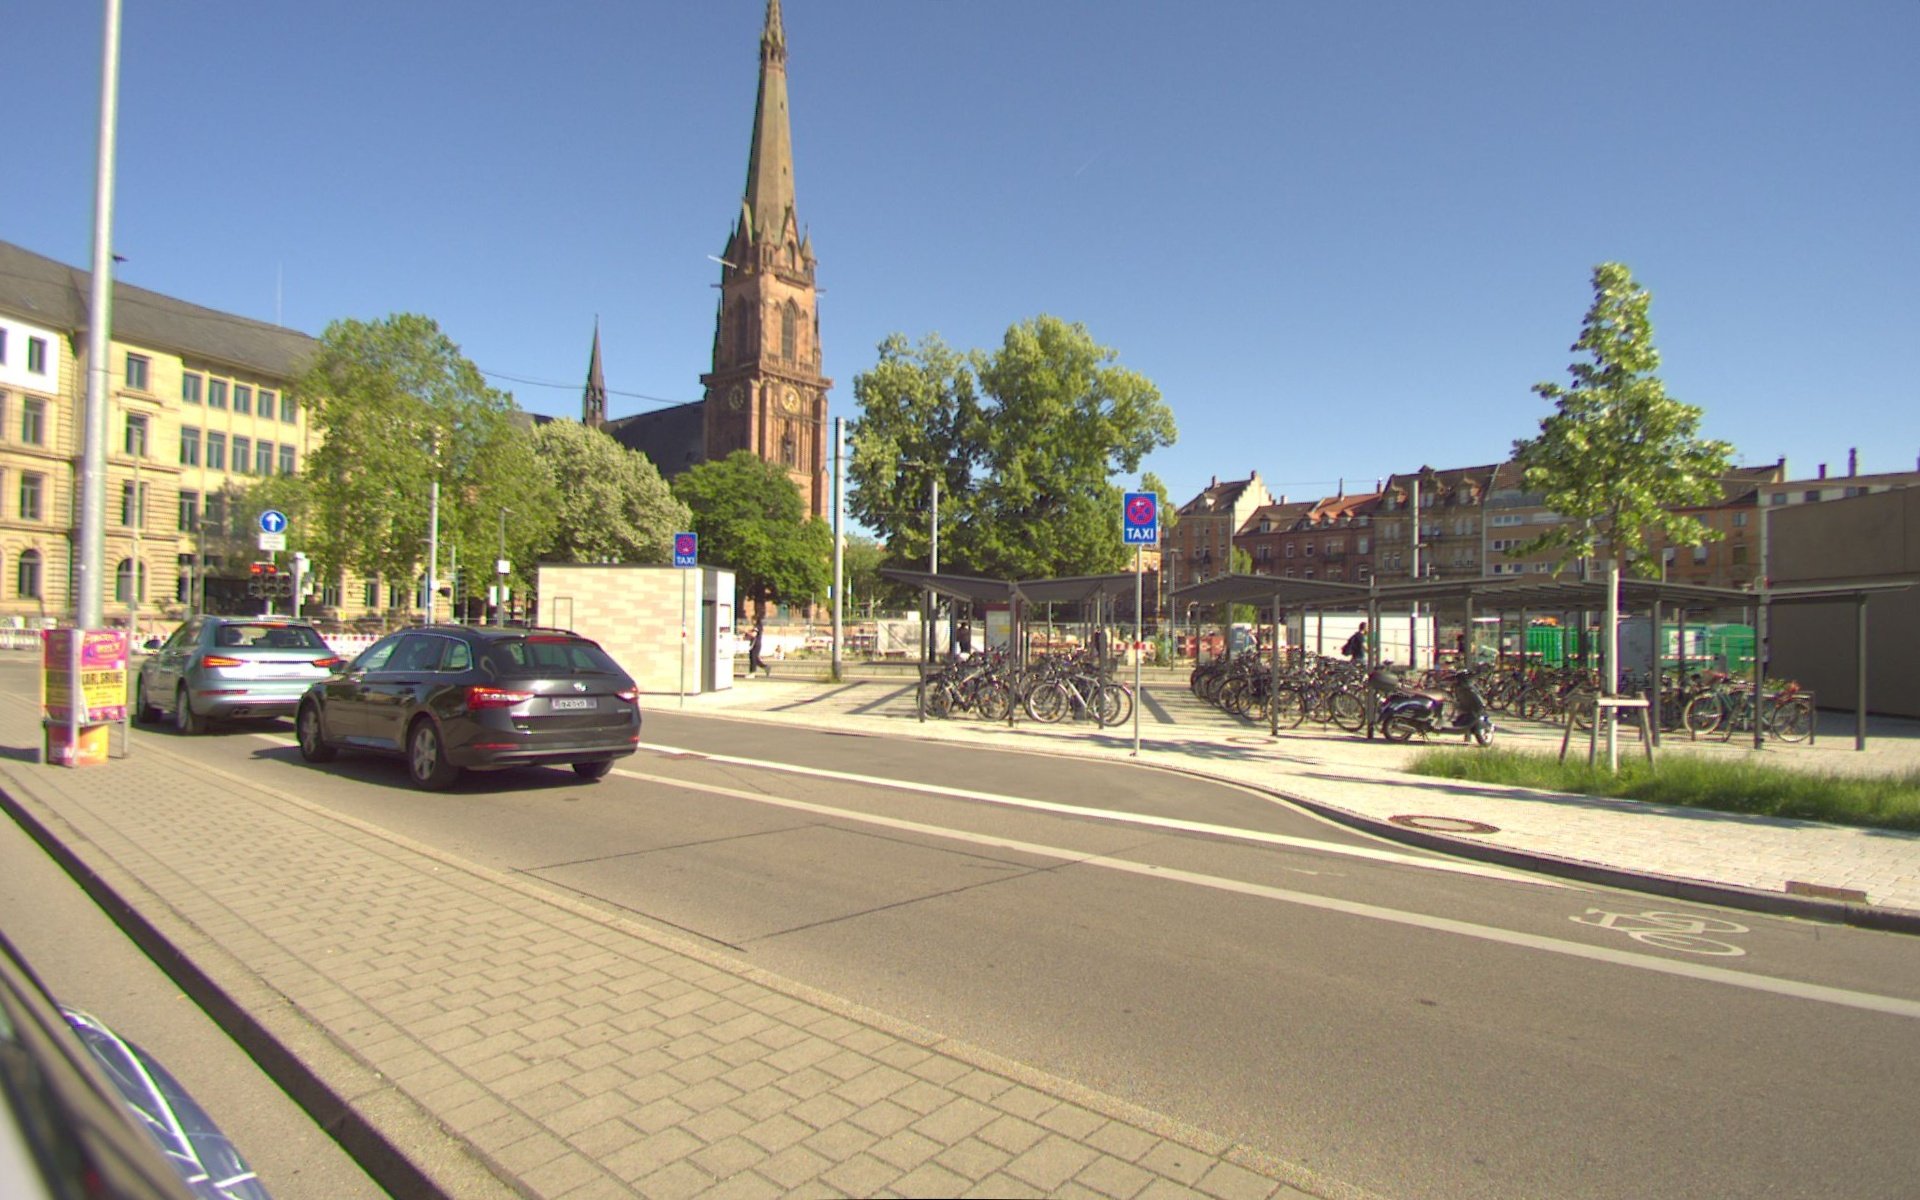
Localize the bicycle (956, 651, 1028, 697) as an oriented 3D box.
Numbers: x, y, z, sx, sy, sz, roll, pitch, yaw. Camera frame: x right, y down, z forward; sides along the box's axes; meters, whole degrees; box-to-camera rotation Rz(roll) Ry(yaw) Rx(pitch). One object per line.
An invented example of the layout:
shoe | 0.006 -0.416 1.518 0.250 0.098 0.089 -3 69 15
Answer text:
bicycle | 0.748 1.706 23.482 1.652 1.016 0.456 0 -2 8

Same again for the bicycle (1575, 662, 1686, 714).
bicycle | 13.876 1.815 20.971 1.882 1.016 0.456 0 -2 8

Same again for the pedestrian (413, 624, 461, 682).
pedestrian | -16.611 1.659 32.173 1.130 1.793 0.965 -1 -2 40

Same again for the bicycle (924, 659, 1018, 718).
bicycle | 0.203 1.582 18.191 1.652 1.016 0.456 0 -2 8

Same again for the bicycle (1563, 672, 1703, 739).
bicycle | 10.975 1.715 16.537 1.882 1.016 0.456 0 -2 8

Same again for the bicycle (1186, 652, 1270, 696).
bicycle | 6.396 1.759 24.226 1.882 1.016 0.456 0 -2 8

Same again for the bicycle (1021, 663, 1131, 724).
bicycle | 2.021 1.621 17.674 1.882 1.016 0.456 0 -2 8

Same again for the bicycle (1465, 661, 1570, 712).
bicycle | 11.716 1.811 21.313 1.882 1.016 0.456 0 -2 8

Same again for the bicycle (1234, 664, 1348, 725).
bicycle | 5.902 1.680 18.093 1.882 1.016 0.456 0 -2 8

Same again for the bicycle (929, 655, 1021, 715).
bicycle | 0.282 1.562 18.777 1.652 1.069 0.456 0 -2 8

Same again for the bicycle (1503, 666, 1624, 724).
bicycle | 11.166 1.753 18.758 1.882 1.016 0.456 0 -2 8

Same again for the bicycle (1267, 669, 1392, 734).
bicycle | 6.124 1.679 16.840 1.882 1.016 0.456 0 -2 8

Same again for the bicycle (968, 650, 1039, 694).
bicycle | 1.044 1.712 24.227 1.652 1.016 0.456 0 -2 8

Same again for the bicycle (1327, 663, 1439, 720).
bicycle | 7.920 1.709 18.996 1.882 1.016 0.456 0 -2 8

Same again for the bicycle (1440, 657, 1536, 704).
bicycle | 12.081 1.833 23.194 1.882 1.016 0.456 0 -2 8

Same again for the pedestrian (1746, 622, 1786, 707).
pedestrian | 19.614 1.546 24.632 0.718 2.029 0.678 -1 -2 41

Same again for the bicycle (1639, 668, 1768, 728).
bicycle | 13.471 1.774 18.364 1.882 1.016 0.456 0 -2 8

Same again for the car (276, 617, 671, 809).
car | -5.022 0.963 10.156 4.571 1.511 1.771 -1 -3 39

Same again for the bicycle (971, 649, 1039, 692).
bicycle | 1.109 1.726 24.943 1.652 1.016 0.456 0 -2 8

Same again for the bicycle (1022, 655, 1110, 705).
bicycle | 2.299 1.719 21.921 1.882 1.016 0.456 0 -2 8

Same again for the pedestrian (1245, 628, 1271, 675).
pedestrian | 11.773 2.026 39.999 0.792 1.793 0.977 0 -2 3

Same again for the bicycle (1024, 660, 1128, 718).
bicycle | 2.139 1.642 18.744 1.882 1.016 0.456 0 -2 8

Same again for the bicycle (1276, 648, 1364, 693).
bicycle | 8.489 1.649 23.910 1.882 1.016 0.456 0 -2 8

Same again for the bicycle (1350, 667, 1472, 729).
bicycle | 7.897 1.706 17.763 1.882 1.016 0.456 0 -2 8

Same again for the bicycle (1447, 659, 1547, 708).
bicycle | 11.786 1.821 22.244 1.882 1.016 0.456 0 -2 8

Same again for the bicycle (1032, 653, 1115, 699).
bicycle | 2.608 1.745 23.304 1.882 1.016 0.456 0 -2 8

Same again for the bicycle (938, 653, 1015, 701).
bicycle | 0.374 1.687 22.225 1.652 1.016 0.456 0 -2 8

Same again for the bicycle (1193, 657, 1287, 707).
bicycle | 5.968 1.744 21.609 1.882 1.016 0.456 0 -2 8

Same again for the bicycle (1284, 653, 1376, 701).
bicycle | 8.318 1.732 22.818 1.882 1.016 0.456 0 -2 8

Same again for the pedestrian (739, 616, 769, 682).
pedestrian | -5.684 1.339 27.920 0.750 1.781 0.661 1 -2 -7

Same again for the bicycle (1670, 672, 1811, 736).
bicycle | 13.131 1.740 17.066 1.882 1.016 0.456 0 -2 8

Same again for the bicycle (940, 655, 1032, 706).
bicycle | 0.546 1.672 21.227 1.882 1.016 0.456 0 -2 8

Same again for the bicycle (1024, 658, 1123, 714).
bicycle | 2.199 1.656 19.585 1.882 1.016 0.456 0 -2 8

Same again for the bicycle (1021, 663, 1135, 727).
bicycle | 1.992 1.599 17.114 1.882 1.016 0.456 0 -2 8

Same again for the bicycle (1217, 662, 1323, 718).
bicycle | 5.900 1.705 19.323 1.882 1.016 0.456 0 -2 8

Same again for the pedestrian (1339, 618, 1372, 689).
pedestrian | 10.315 1.387 26.419 0.676 1.848 0.564 0 -2 8

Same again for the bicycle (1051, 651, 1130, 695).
bicycle | 3.164 1.773 24.599 1.882 1.016 0.456 0 -2 8

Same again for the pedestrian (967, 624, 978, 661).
pedestrian | 0.588 1.990 47.616 0.399 1.734 0.419 1 -2 -11

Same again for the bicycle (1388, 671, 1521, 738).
bicycle | 8.031 1.688 16.494 1.882 1.016 0.456 0 -2 8

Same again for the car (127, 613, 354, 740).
car | -10.438 1.018 14.561 4.241 1.554 1.835 -1 -4 44

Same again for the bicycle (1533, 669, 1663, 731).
bicycle | 11.103 1.729 17.642 1.882 1.016 0.456 0 -2 8

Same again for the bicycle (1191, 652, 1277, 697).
bicycle | 6.368 1.728 23.567 1.882 1.016 0.456 0 -2 8

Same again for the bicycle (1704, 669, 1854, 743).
bicycle | 13.084 1.682 16.206 1.882 1.106 0.456 0 -2 8

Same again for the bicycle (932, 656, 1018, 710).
bicycle | 0.307 1.622 19.888 1.652 1.016 0.456 0 -2 8

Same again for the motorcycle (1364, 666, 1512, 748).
motorcycle | 7.164 1.599 15.226 1.924 1.160 0.516 0 -2 6

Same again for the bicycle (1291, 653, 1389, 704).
bicycle | 8.059 1.658 21.520 1.882 1.016 0.456 0 -2 8

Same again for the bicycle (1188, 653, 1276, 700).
bicycle | 6.151 1.735 22.943 1.882 1.016 0.456 0 -2 8

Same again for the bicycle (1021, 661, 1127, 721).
bicycle | 2.057 1.630 18.261 1.882 1.016 0.456 0 -2 8

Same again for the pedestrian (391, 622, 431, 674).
pedestrian | -19.307 1.692 35.609 0.802 1.793 0.965 -1 -2 40
